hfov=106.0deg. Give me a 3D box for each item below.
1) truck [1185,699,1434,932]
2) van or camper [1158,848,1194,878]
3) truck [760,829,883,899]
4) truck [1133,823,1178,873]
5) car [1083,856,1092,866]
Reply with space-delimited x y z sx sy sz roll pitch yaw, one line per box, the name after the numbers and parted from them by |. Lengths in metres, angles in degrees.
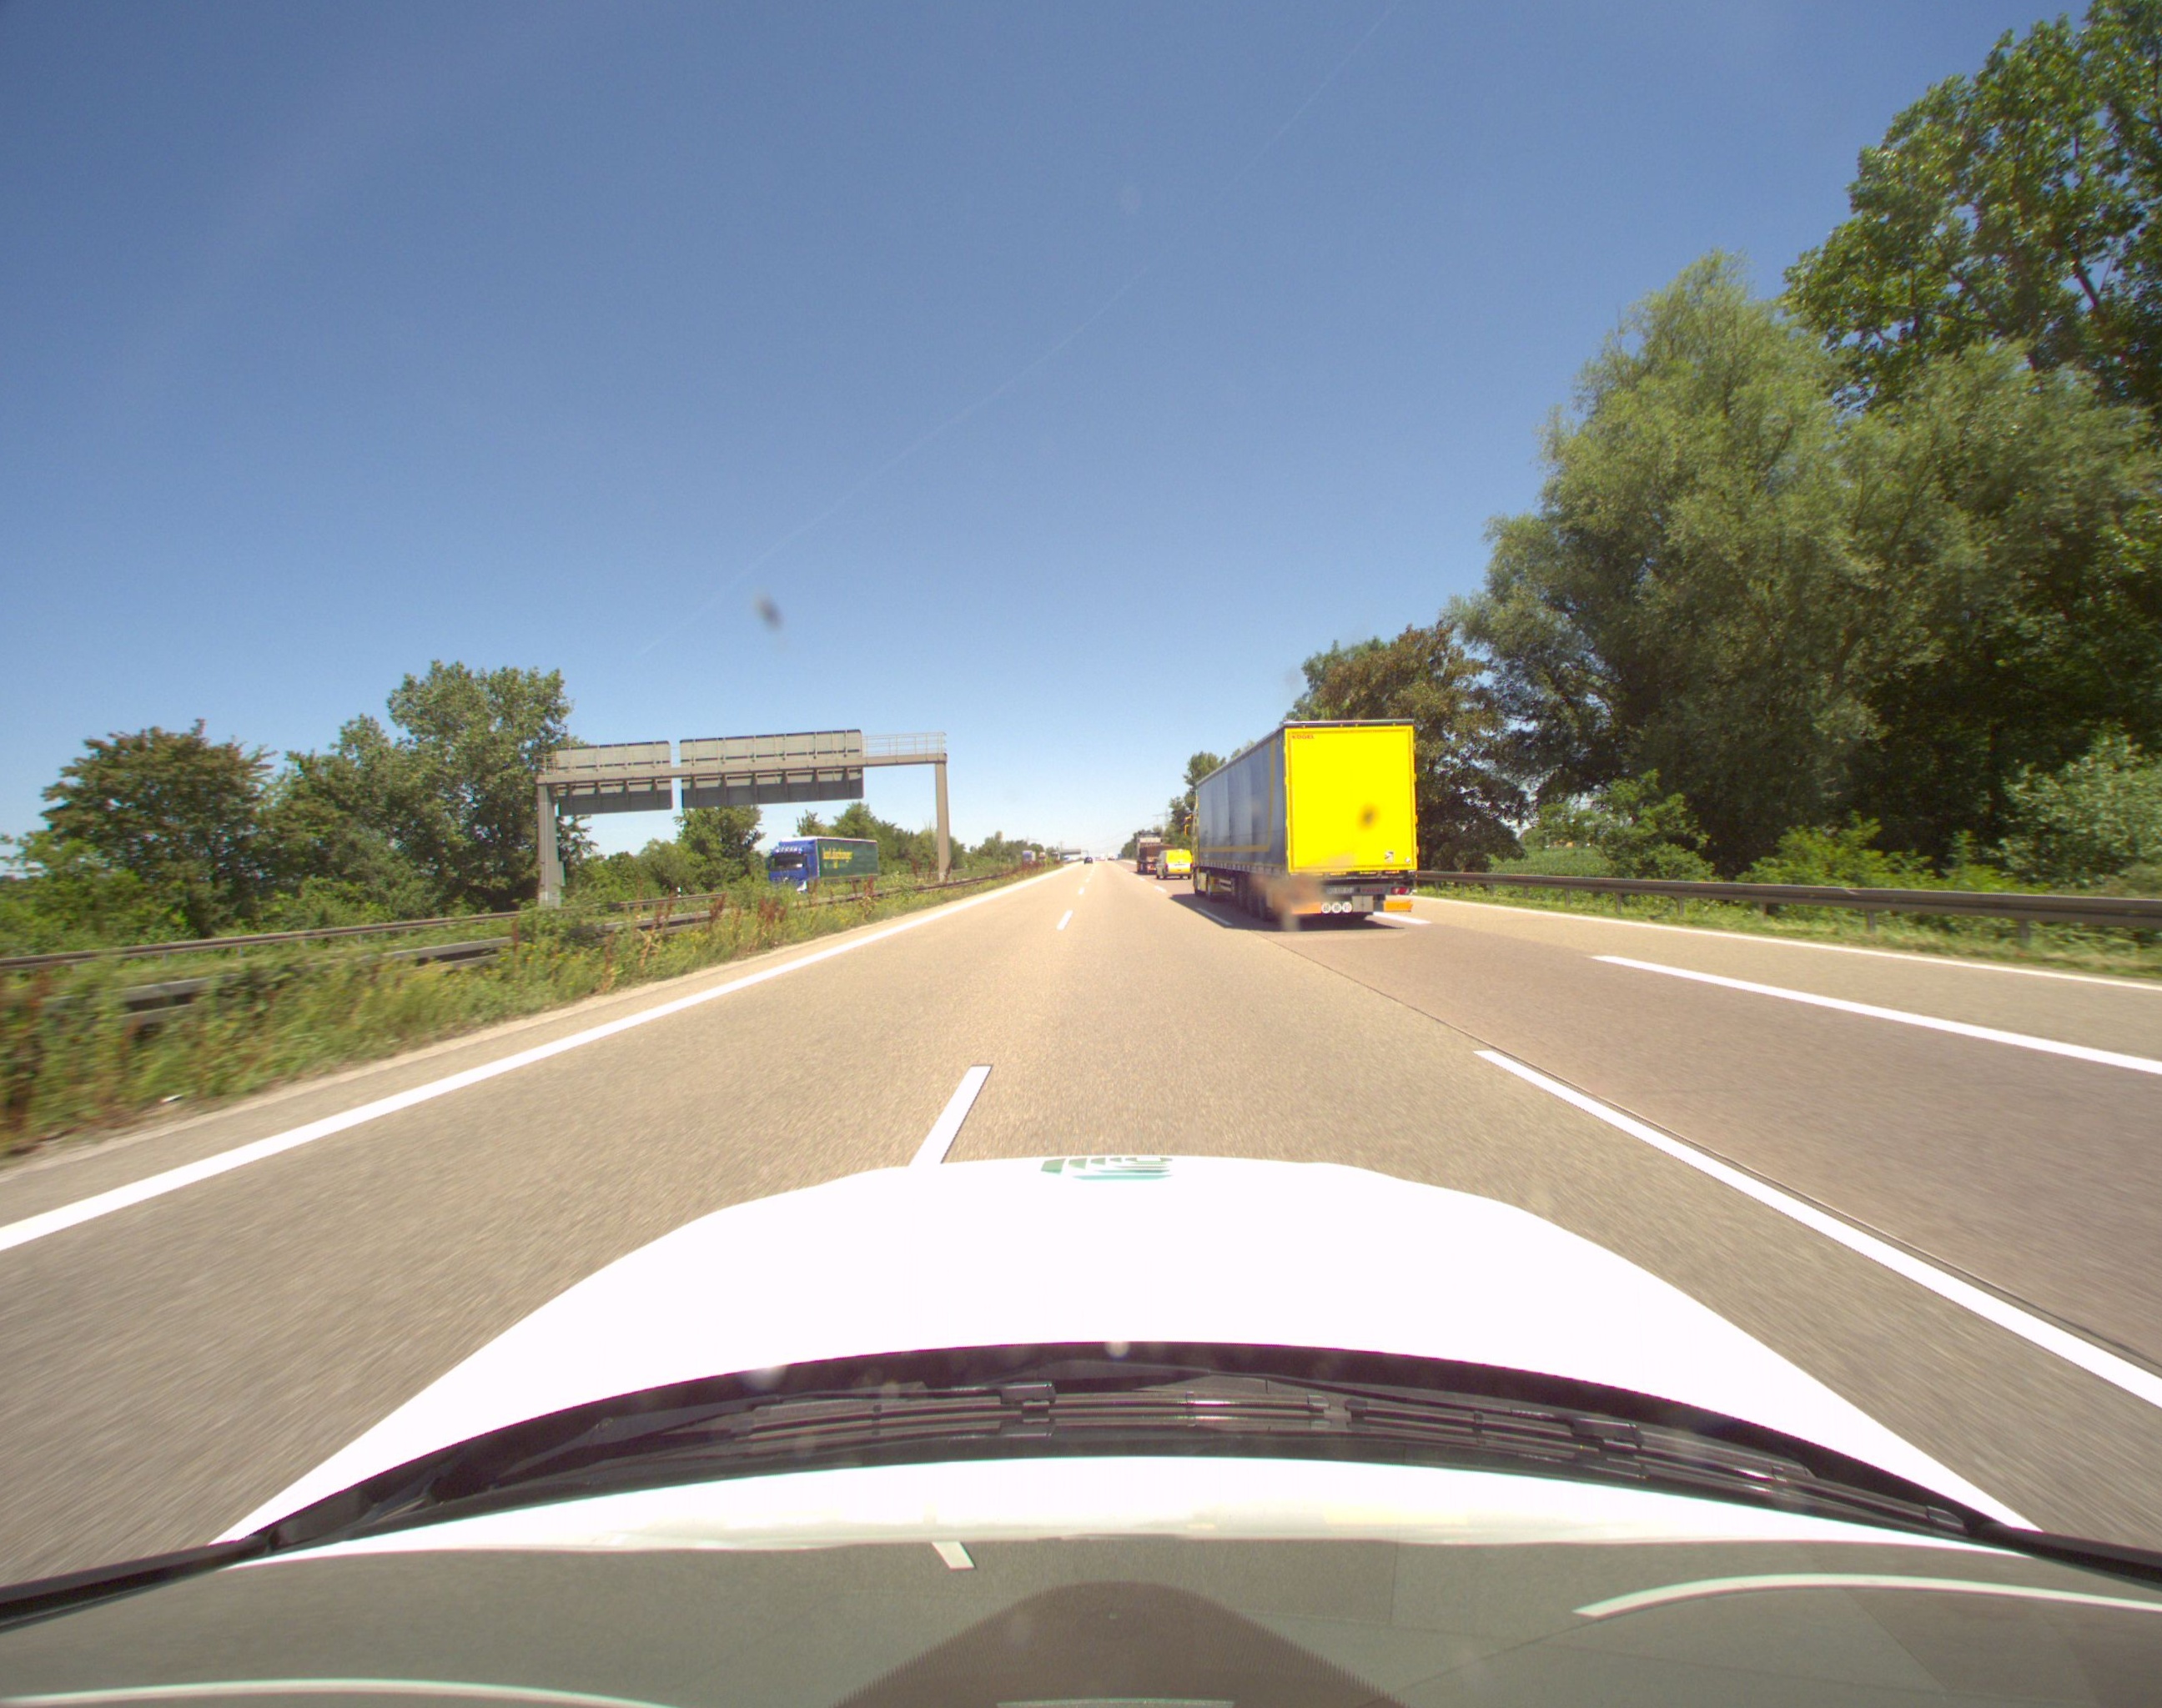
5.367 -0.615 23.733 2.834 4.257 16.796 -3 -1 2 | truck
6.303 0.585 54.566 1.985 1.909 4.975 -1 0 3 | van or camper
-18.892 0.701 61.397 2.945 4.342 18.243 -3 0 1 | truck
6.556 -0.368 74.260 2.958 3.957 16.618 -1 -1 2 | truck
1.406 1.560 170.332 1.785 2.014 3.888 -1 -1 2 | car
